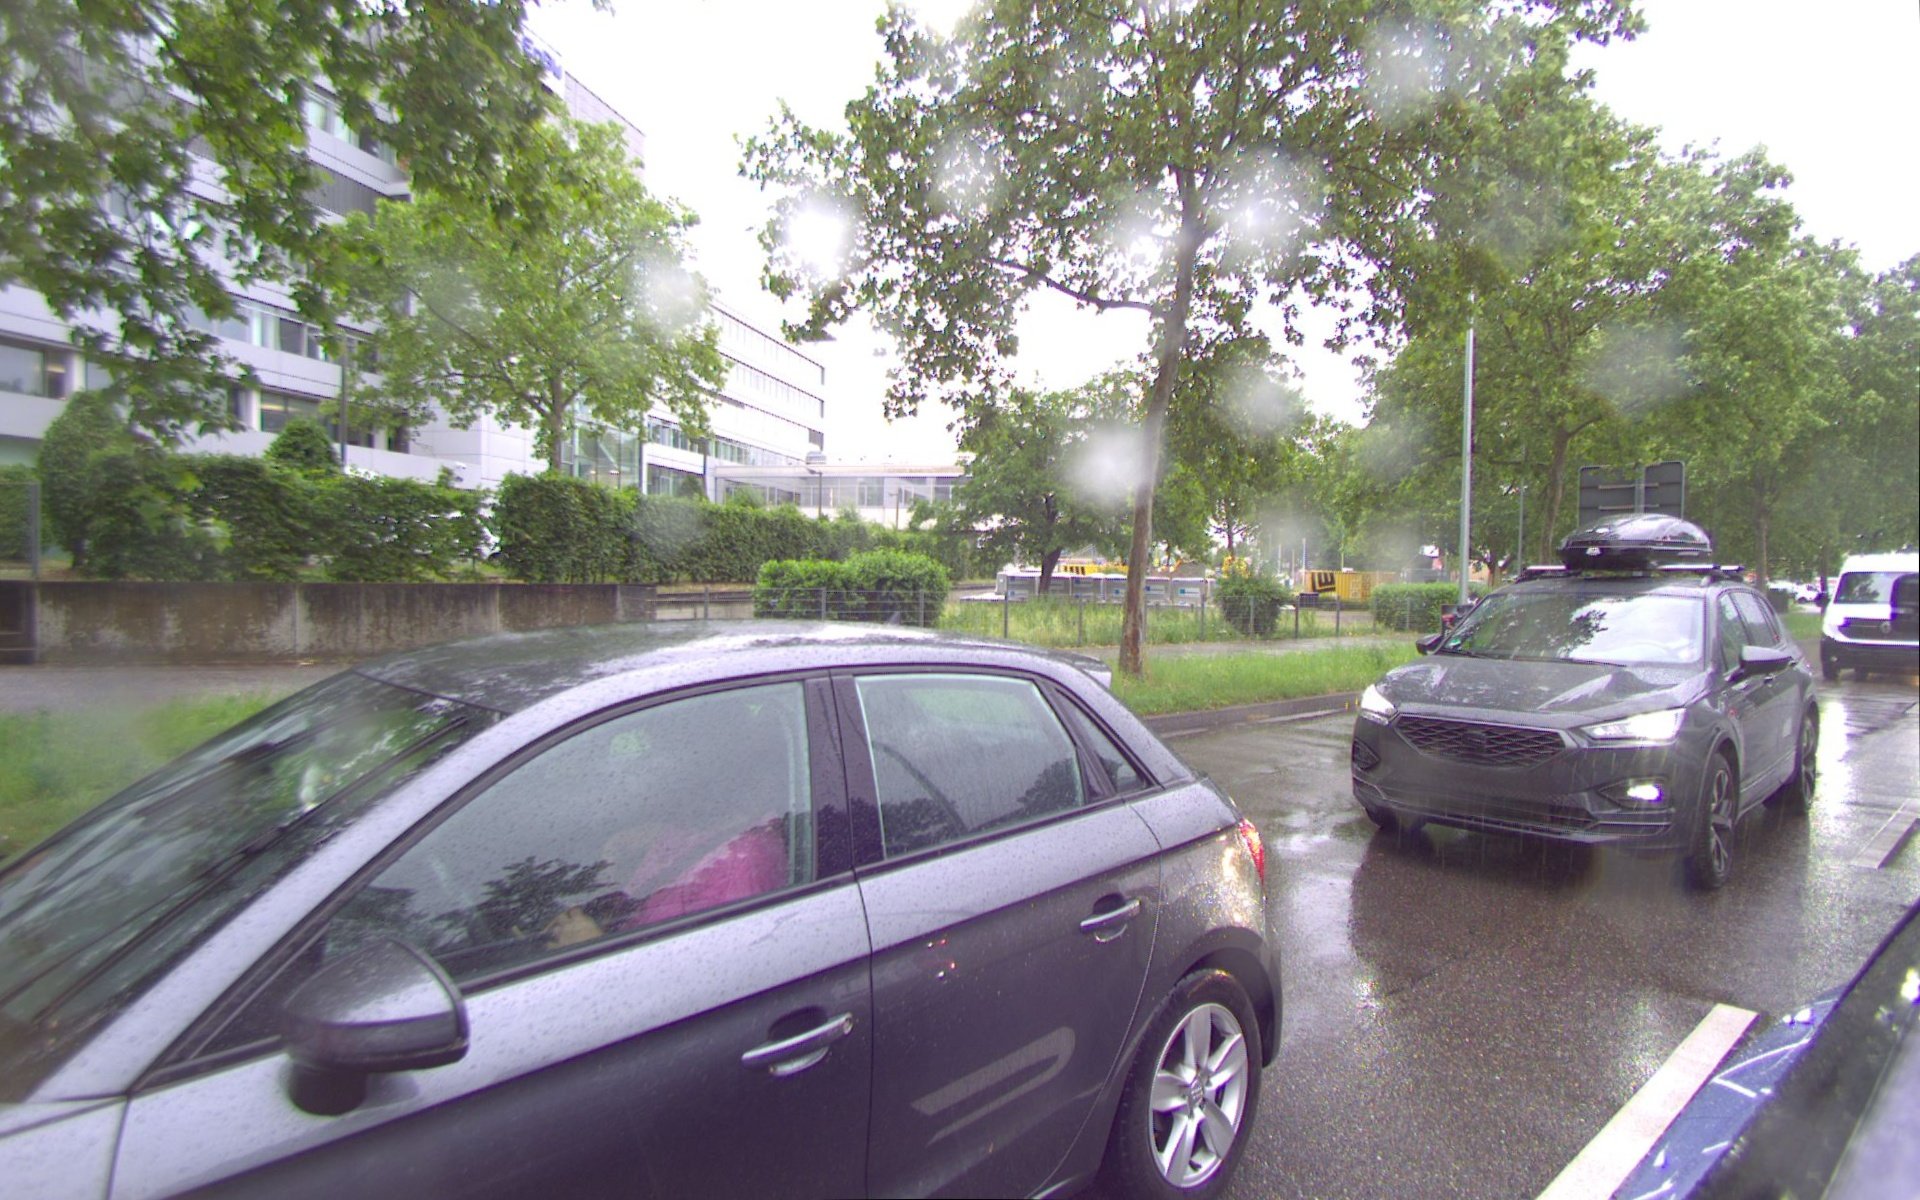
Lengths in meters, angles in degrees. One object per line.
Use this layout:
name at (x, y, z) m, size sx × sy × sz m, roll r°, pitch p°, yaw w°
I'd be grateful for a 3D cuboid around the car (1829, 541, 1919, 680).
car at (18.793, 0.175, 19.951) m, size 5.227 × 2.476 × 1.892 m, roll 0°, pitch 1°, yaw -43°

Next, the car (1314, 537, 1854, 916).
car at (4.361, 0.549, 6.756) m, size 4.347 × 1.719 × 1.892 m, roll 0°, pitch 1°, yaw -42°

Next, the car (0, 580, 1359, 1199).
car at (-0.872, 0.693, 2.140) m, size 3.715 × 1.446 × 1.679 m, roll 0°, pitch 1°, yaw -41°

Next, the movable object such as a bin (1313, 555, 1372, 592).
movable object such as a bin at (36.165, -2.521, 95.815) m, size 4.838 × 3.478 × 1.921 m, roll 0°, pitch 0°, yaw -7°

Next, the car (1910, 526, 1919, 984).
car at (6.325, 0.185, 4.958) m, size 5.599 × 2.544 × 2.024 m, roll 0°, pitch 1°, yaw -43°

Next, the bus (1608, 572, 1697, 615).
bus at (43.723, -0.412, 63.922) m, size 1.681 × 2.600 × 4.366 m, roll 0°, pitch 0°, yaw -41°

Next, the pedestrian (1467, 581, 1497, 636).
pedestrian at (16.788, 0.261, 32.566) m, size 0.645 × 1.738 × 0.645 m, roll 0°, pitch 0°, yaw -40°

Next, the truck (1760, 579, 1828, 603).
truck at (85.186, -0.910, 103.477) m, size 4.988 × 2.406 × 1.785 m, roll 0°, pitch 0°, yaw 19°
